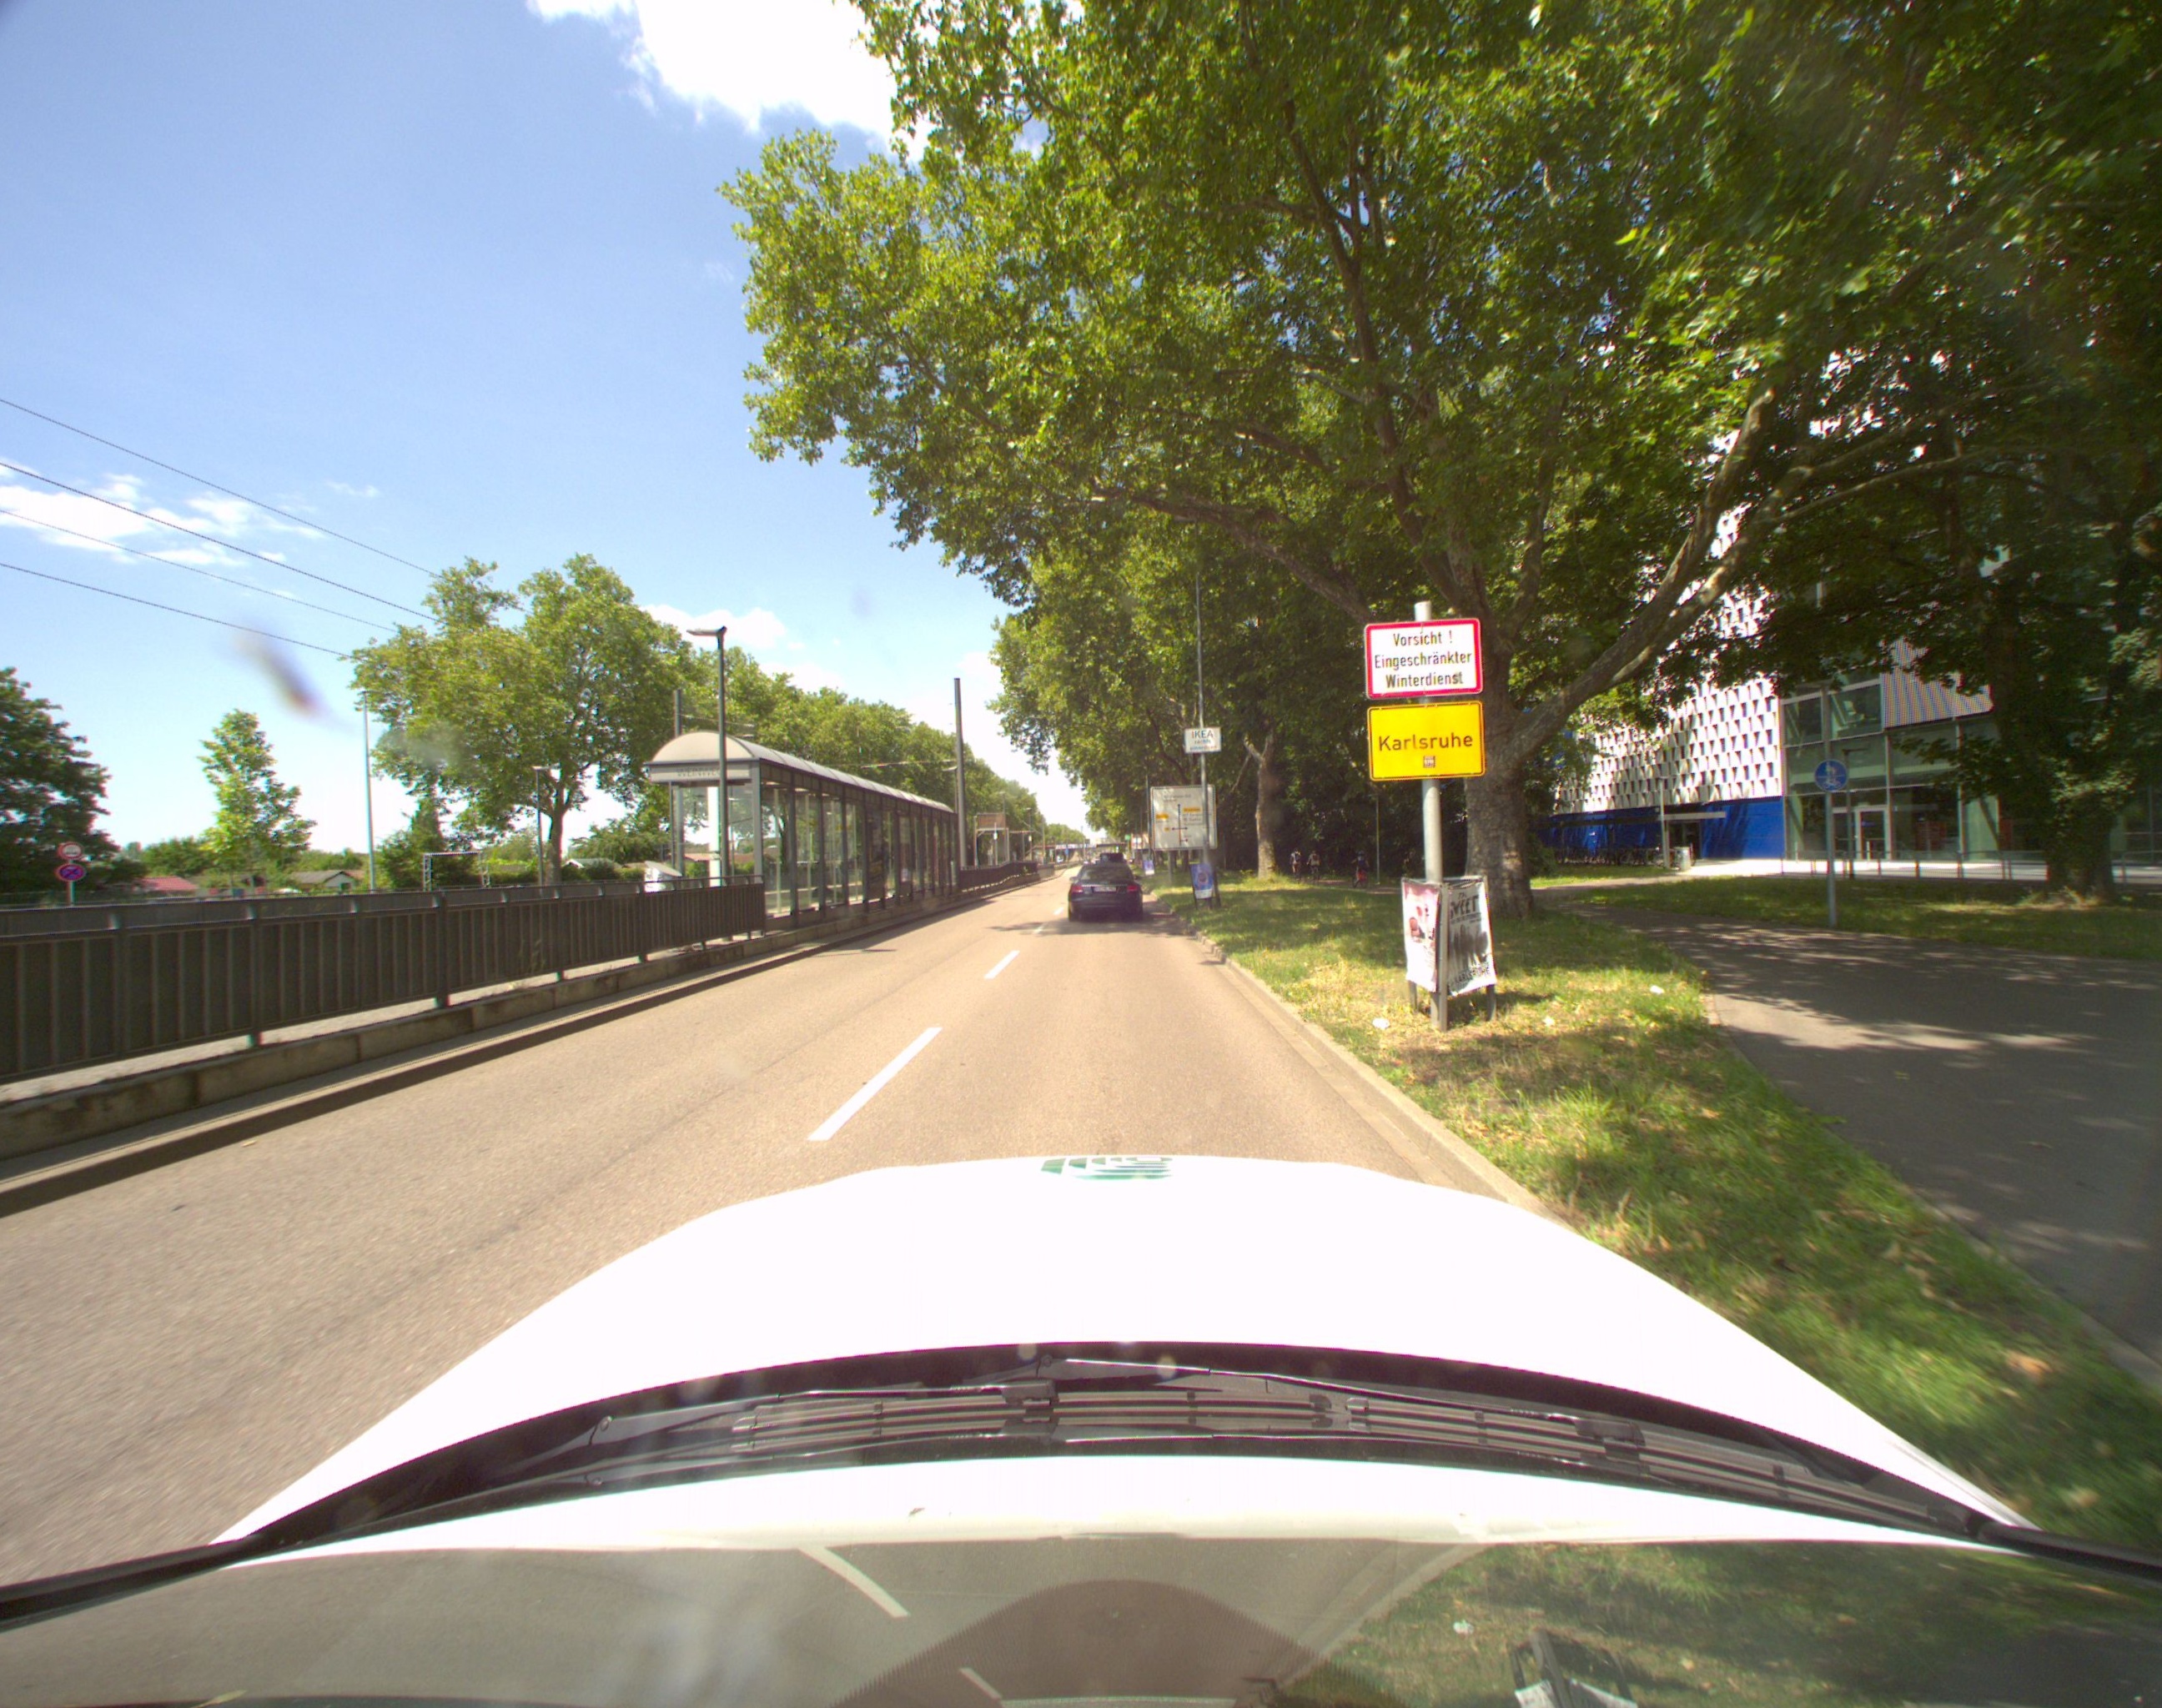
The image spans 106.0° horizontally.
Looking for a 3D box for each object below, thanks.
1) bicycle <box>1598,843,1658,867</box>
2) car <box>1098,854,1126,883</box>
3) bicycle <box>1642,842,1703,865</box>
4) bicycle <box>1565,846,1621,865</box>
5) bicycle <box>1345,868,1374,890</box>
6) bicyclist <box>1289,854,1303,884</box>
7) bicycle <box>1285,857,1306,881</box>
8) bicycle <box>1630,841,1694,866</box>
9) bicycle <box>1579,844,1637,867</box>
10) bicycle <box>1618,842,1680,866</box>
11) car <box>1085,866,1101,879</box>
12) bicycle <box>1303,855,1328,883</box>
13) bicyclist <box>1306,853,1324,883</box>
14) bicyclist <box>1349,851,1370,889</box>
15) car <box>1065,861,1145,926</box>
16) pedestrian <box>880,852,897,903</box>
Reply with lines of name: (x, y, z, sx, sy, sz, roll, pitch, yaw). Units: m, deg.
bicycle: (27.555, 0.033, 41.012, 2.539, 1.110, 0.758, -2, -1, -3)
car: (2.233, 1.032, 58.122, 1.840, 1.959, 4.149, -1, -1, 4)
bicycle: (27.477, -0.023, 37.859, 2.310, 0.960, 0.758, -2, 0, -3)
bicycle: (27.460, 0.086, 43.714, 2.539, 0.970, 0.758, -2, 0, -3)
bicycle: (11.920, 1.051, 34.913, 0.642, 0.887, 2.025, -2, -1, 3)
bicyclist: (12.816, 0.885, 48.602, 0.595, 1.746, 0.843, -1, -1, 2)
bicycle: (12.835, 0.886, 48.750, 0.608, 1.420, 2.663, -2, -1, 2)
bicycle: (27.798, -0.003, 38.986, 2.539, 1.110, 0.758, -2, -1, -3)
bicycle: (27.467, 0.062, 42.443, 2.539, 1.110, 0.758, -2, -1, -3)
bicycle: (27.817, 0.011, 39.932, 2.539, 1.110, 0.758, -2, -1, -3)
car: (1.407, 2.191, 97.273, 1.839, 1.464, 4.000, -2, -1, 0)
bicycle: (12.623, 0.799, 43.915, 0.608, 1.420, 2.663, -2, -1, 2)
bicyclist: (12.635, 0.741, 44.039, 0.656, 1.599, 1.054, -2, -1, 2)
bicyclist: (11.910, 0.685, 34.839, 0.620, 1.610, 0.817, -2, -1, 3)
car: (0.587, 0.943, 20.863, 1.836, 1.484, 4.000, -1, -1, 1)
pedestrian: (-5.797, 0.712, 24.543, 0.419, 1.508, 0.393, -2, -1, -22)
